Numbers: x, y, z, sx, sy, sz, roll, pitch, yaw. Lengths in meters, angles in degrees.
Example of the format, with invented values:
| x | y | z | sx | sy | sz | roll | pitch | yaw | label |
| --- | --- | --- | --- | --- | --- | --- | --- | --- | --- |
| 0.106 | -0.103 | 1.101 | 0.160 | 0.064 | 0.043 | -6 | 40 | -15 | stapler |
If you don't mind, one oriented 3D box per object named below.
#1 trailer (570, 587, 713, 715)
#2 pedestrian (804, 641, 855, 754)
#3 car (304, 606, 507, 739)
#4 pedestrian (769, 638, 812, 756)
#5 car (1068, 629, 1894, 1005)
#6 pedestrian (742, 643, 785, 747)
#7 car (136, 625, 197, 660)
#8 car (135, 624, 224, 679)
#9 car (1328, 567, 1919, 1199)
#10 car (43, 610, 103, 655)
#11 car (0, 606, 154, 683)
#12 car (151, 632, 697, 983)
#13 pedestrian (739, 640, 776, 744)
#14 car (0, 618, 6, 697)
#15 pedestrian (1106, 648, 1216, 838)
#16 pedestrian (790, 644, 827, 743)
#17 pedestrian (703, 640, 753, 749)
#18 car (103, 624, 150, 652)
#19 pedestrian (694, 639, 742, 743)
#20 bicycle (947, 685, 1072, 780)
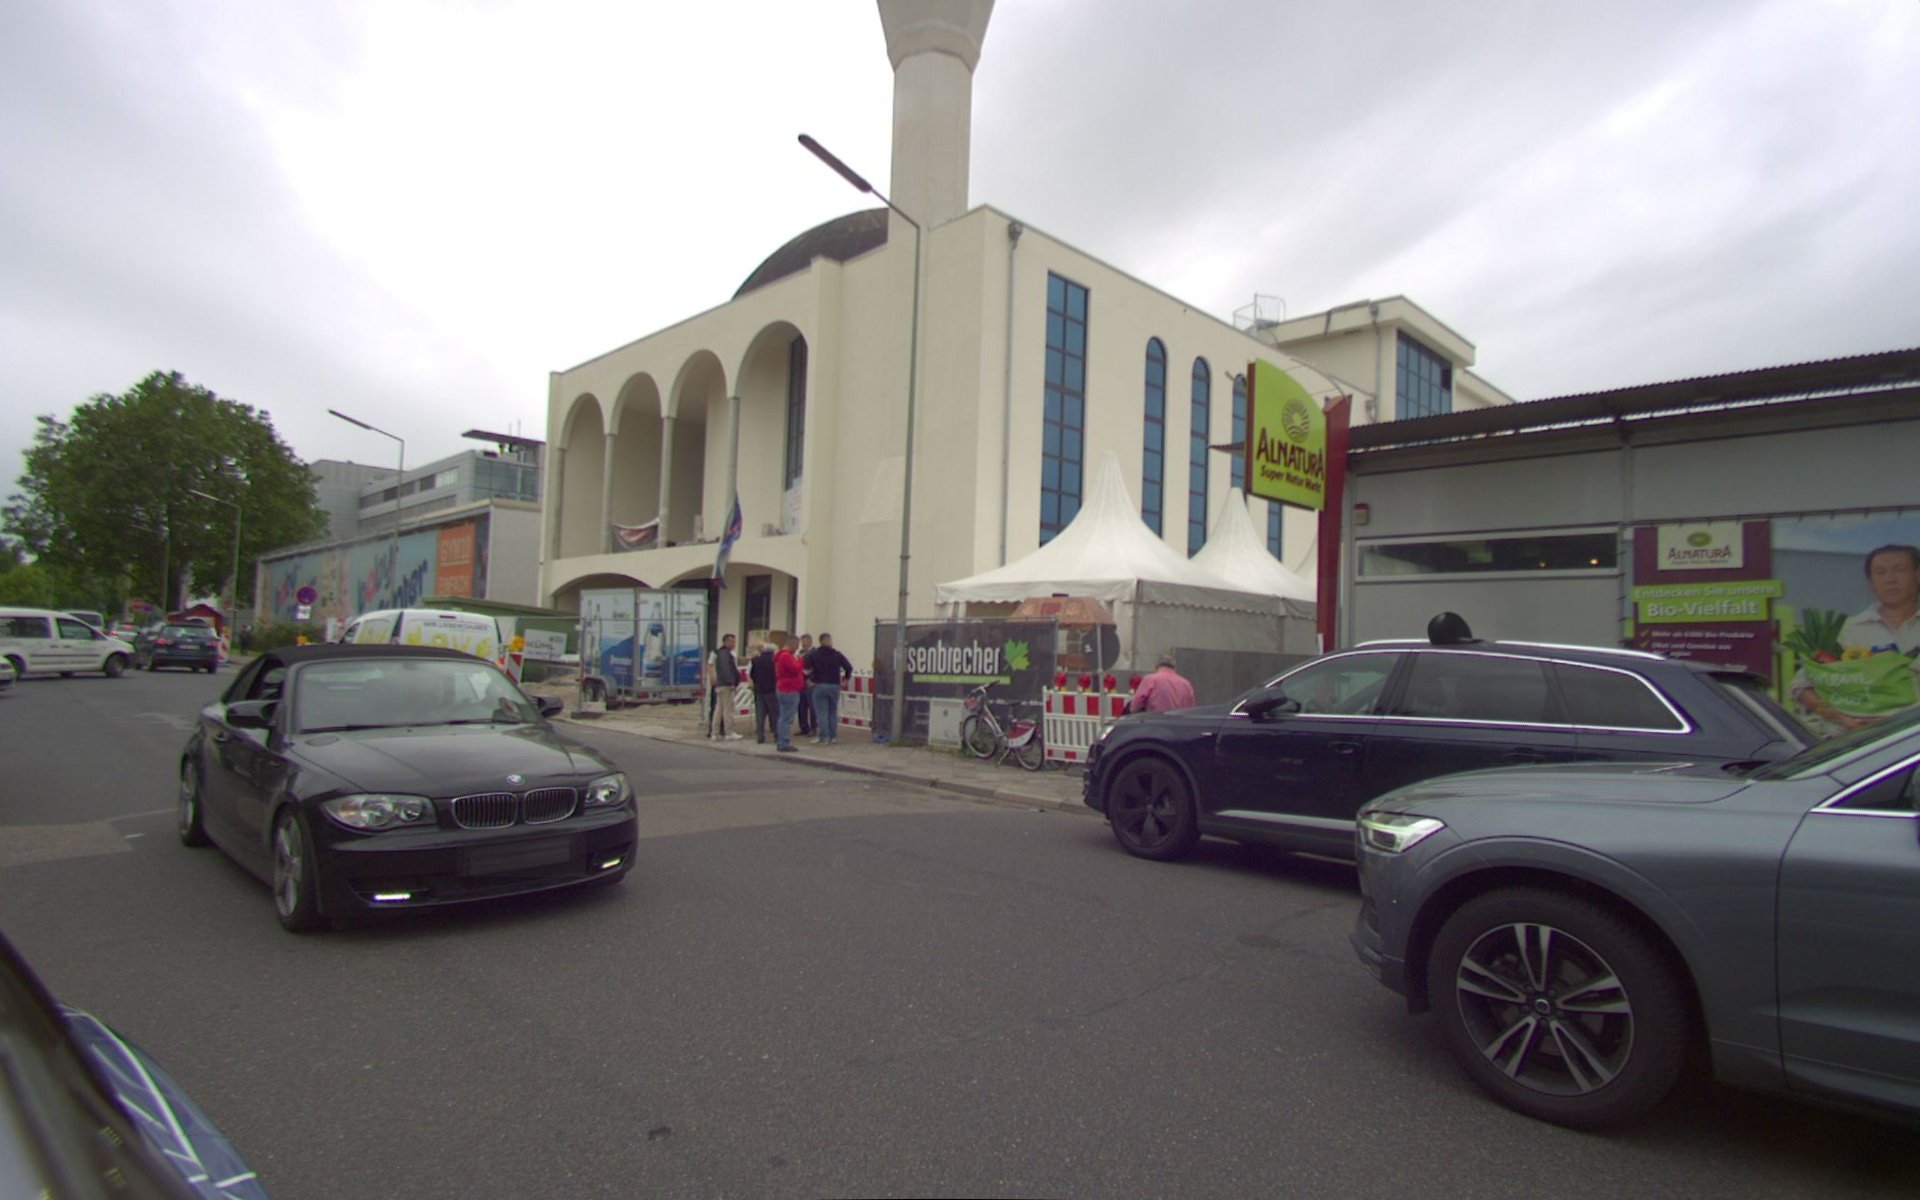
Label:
| x | y | z | sx | sy | sz | roll | pitch | yaw | label |
| --- | --- | --- | --- | --- | --- | --- | --- | --- | --- |
| -7.154 | 1.138 | 22.618 | 1.776 | 2.626 | 3.195 | 5 | -5 | -41 | trailer |
| -2.063 | 1.532 | 16.076 | 0.686 | 1.731 | 0.687 | -2 | -3 | 0 | pedestrian |
| -8.688 | 1.066 | 15.691 | 1.670 | 1.774 | 4.138 | 5 | -5 | -43 | car |
| -2.525 | 1.439 | 15.120 | 0.507 | 1.706 | 0.532 | -2 | -3 | 3 | pedestrian |
| 3.204 | 1.154 | 7.048 | 1.843 | 1.704 | 4.733 | 10 | -8 | -43 | car |
| -3.163 | 1.522 | 16.334 | 0.563 | 1.624 | 0.491 | 2 | -3 | -5 | pedestrian |
| -40.419 | 2.148 | 51.510 | 1.902 | 1.586 | 4.153 | 9 | -7 | -43 | car |
| -25.049 | 1.628 | 32.423 | 1.709 | 1.583 | 3.949 | 7 | -6 | -44 | car |
| 3.601 | 0.826 | 2.755 | 1.910 | 1.697 | 4.499 | 6 | -5 | -43 | car |
| -43.237 | 1.557 | 49.286 | 1.904 | 2.029 | 4.959 | 5 | -4 | -43 | car |
| -23.337 | 1.107 | 25.602 | 1.782 | 1.821 | 4.366 | 2 | -3 | 12 | car |
| -3.522 | 0.948 | 6.255 | 4.139 | 1.369 | 1.726 | 0 | -3 | 44 | car |
| -3.509 | 1.586 | 17.586 | 0.520 | 1.763 | 0.491 | 2 | -3 | -5 | pedestrian |
| -20.773 | 1.097 | 19.089 | 3.625 | 1.596 | 1.782 | 2 | -2 | -25 | car |
| 1.842 | 1.299 | 9.304 | 0.664 | 1.634 | 0.655 | 7 | -6 | -19 | pedestrian |
| -2.567 | 1.576 | 17.176 | 0.485 | 1.624 | 0.540 | 1 | -2 | 6 | pedestrian |
| -3.863 | 1.558 | 16.857 | 0.681 | 1.763 | 0.491 | 2 | -3 | -5 | pedestrian |
| -53.542 | 2.435 | 64.957 | 1.902 | 1.586 | 4.153 | 9 | -7 | -43 | car |
| -4.219 | 1.573 | 17.659 | 0.681 | 1.763 | 0.491 | 2 | -3 | -5 | pedestrian |
| 0.636 | 1.742 | 13.659 | 0.537 | 1.086 | 1.905 | 4 | -3 | -38 | bicycle |
